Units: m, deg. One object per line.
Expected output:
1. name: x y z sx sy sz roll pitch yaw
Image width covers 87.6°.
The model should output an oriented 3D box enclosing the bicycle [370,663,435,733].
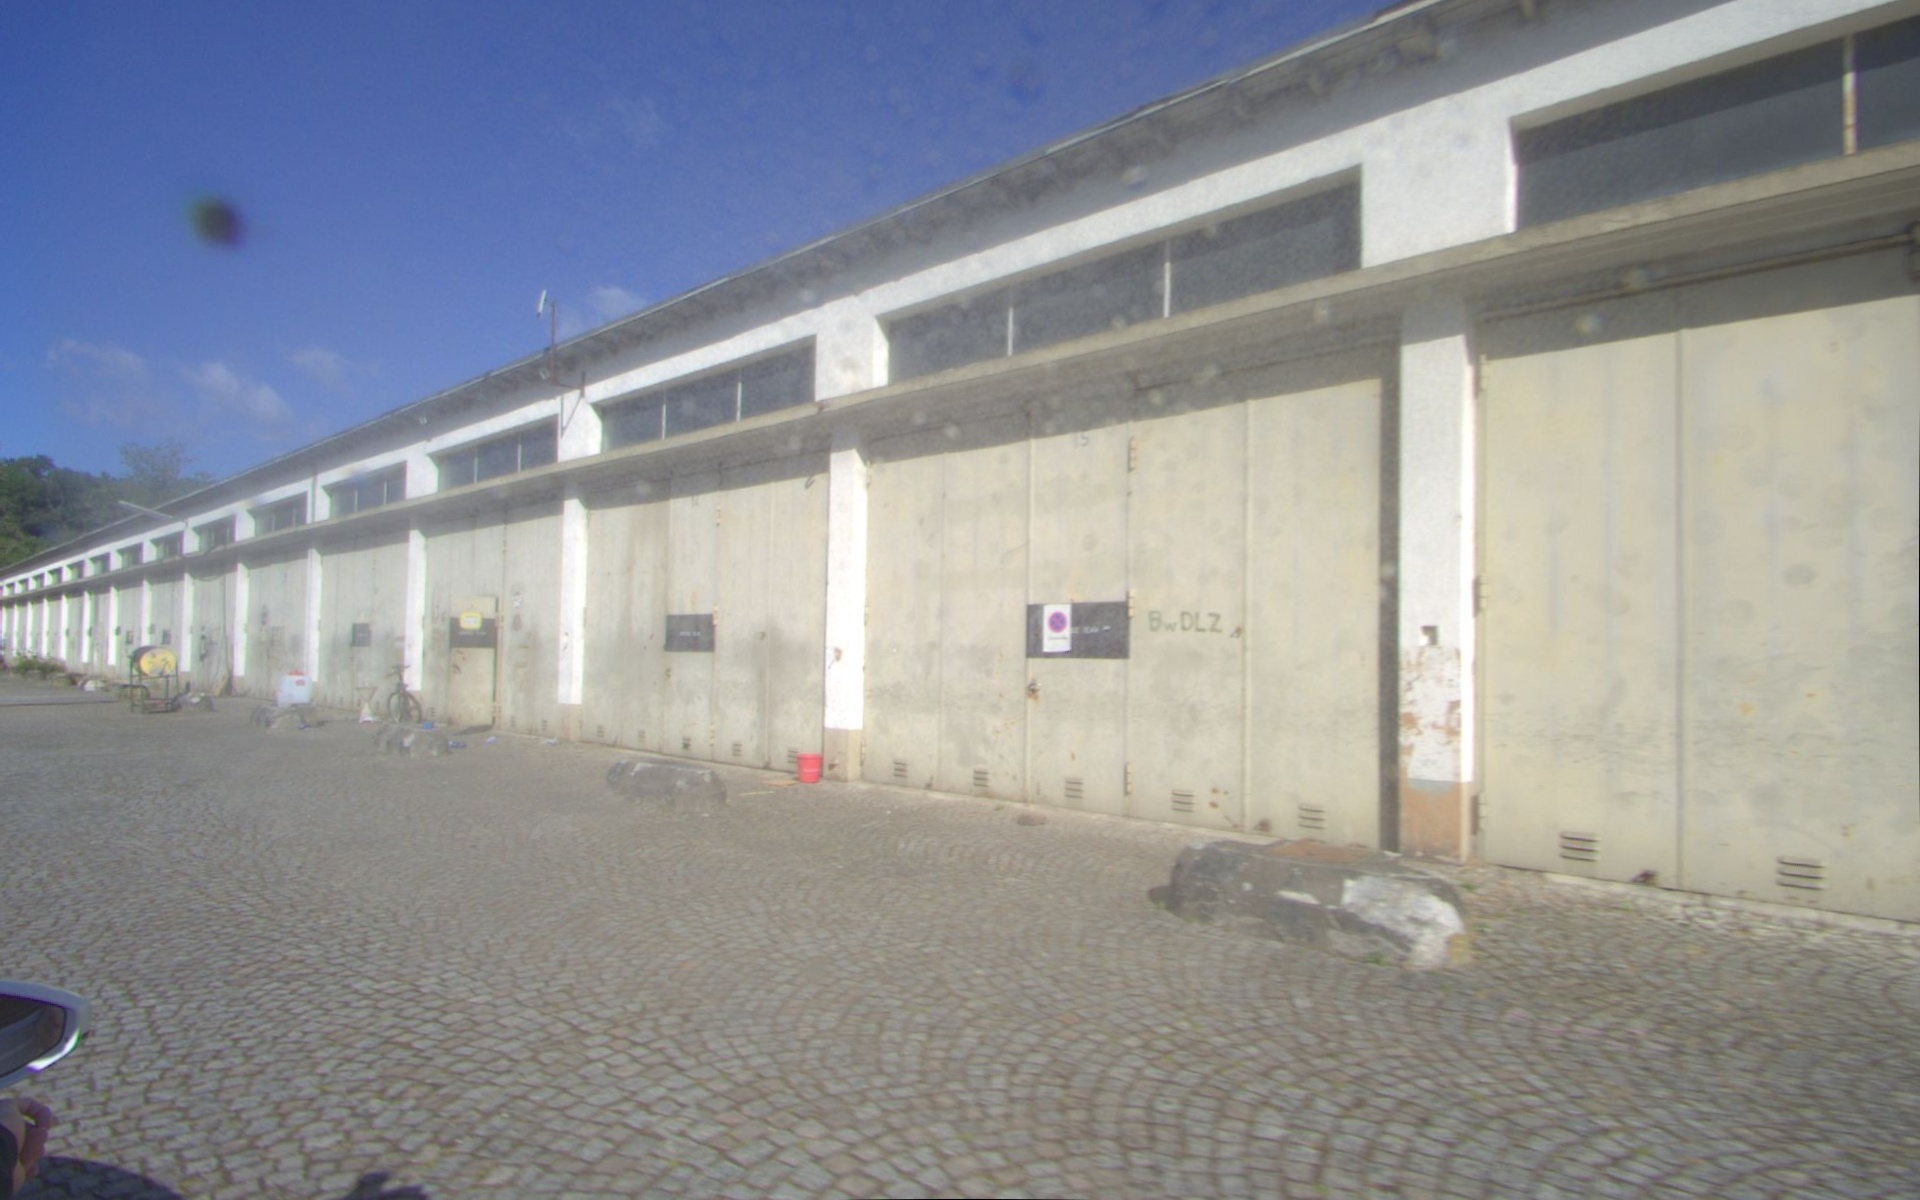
1. bicycle: -9.190 1.584 16.486 0.659 1.081 1.812 4 -5 -36
